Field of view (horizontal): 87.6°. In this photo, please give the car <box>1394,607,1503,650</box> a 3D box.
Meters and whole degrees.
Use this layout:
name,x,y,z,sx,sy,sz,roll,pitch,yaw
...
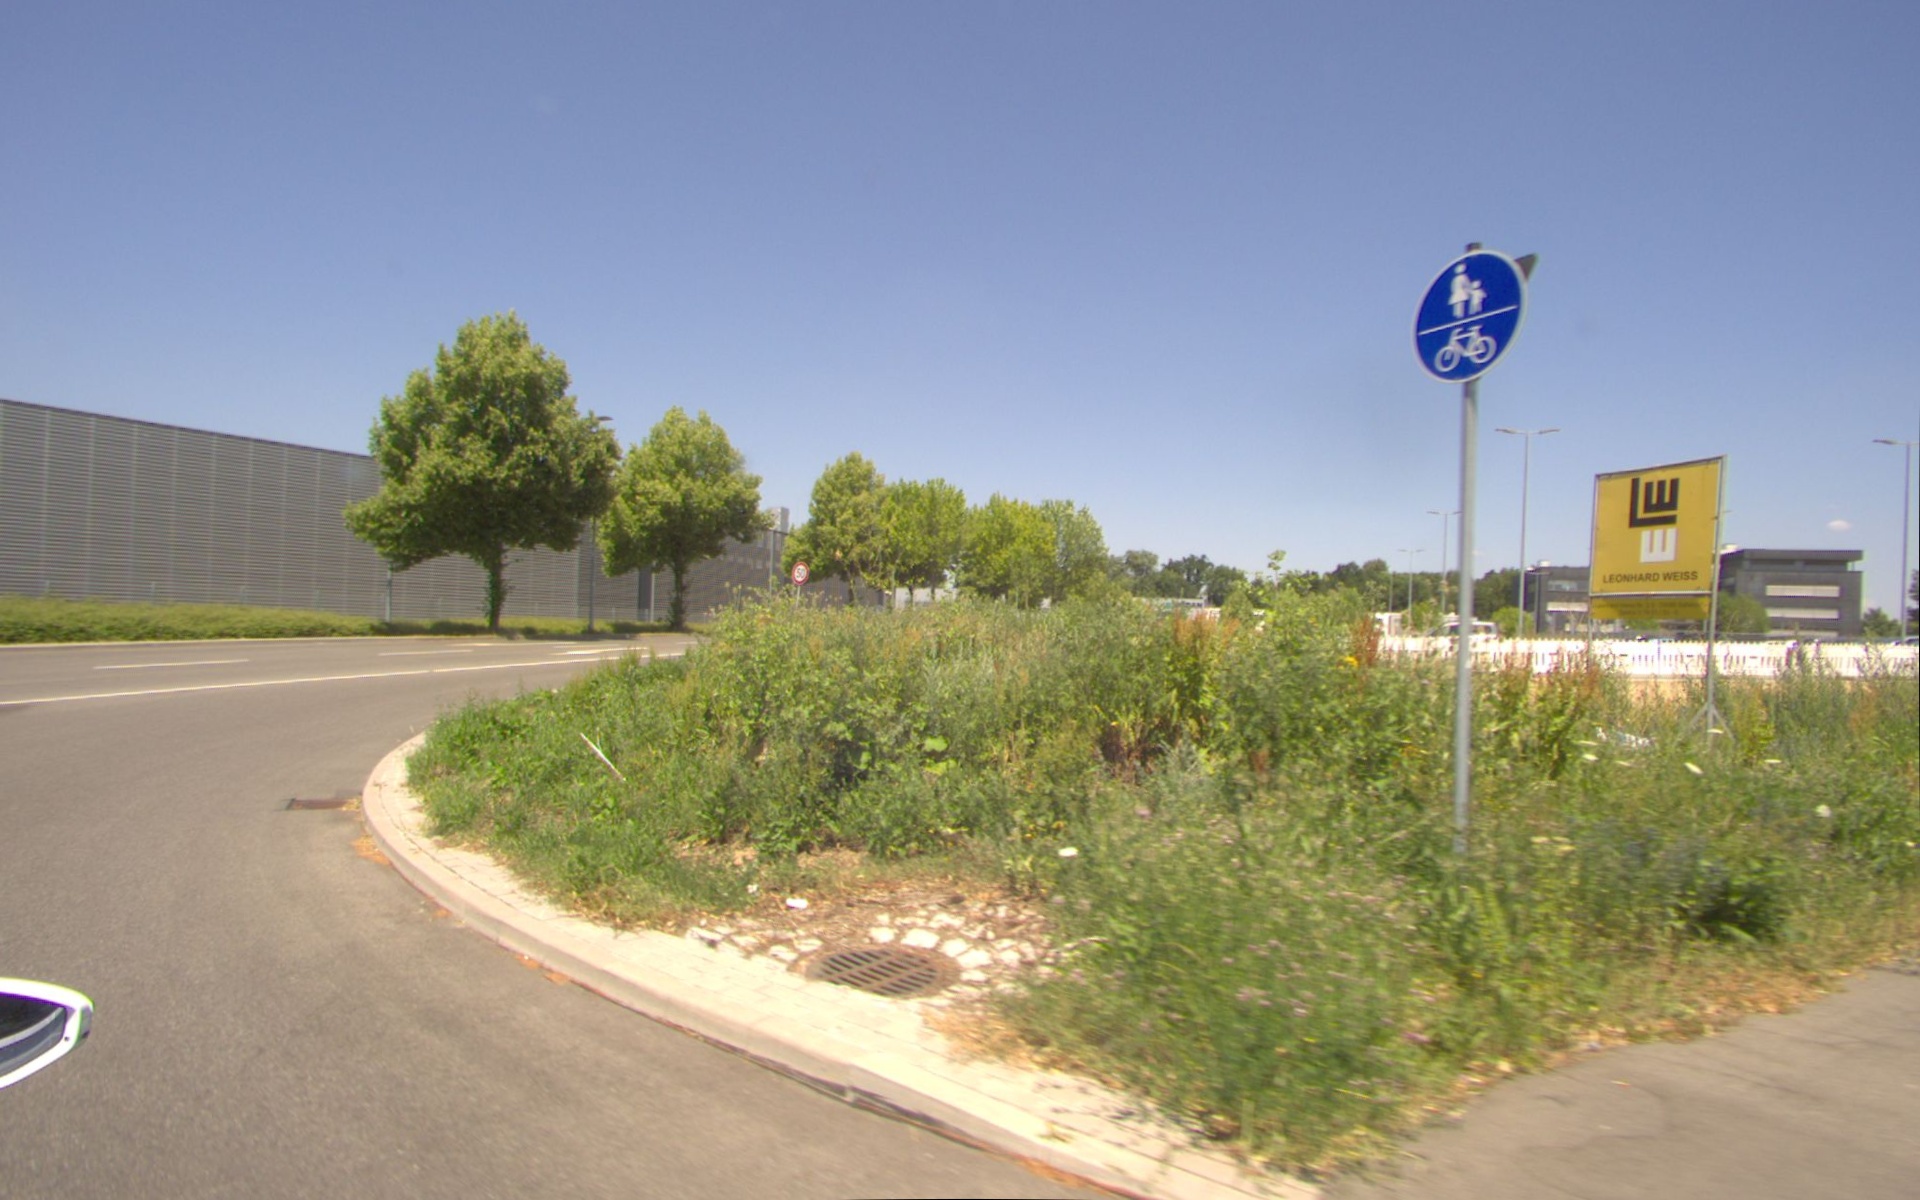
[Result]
name,x,y,z,sx,sy,sz,roll,pitch,yaw
car,22.938,1.336,47.192,4.397,1.939,1.937,0,-1,19
